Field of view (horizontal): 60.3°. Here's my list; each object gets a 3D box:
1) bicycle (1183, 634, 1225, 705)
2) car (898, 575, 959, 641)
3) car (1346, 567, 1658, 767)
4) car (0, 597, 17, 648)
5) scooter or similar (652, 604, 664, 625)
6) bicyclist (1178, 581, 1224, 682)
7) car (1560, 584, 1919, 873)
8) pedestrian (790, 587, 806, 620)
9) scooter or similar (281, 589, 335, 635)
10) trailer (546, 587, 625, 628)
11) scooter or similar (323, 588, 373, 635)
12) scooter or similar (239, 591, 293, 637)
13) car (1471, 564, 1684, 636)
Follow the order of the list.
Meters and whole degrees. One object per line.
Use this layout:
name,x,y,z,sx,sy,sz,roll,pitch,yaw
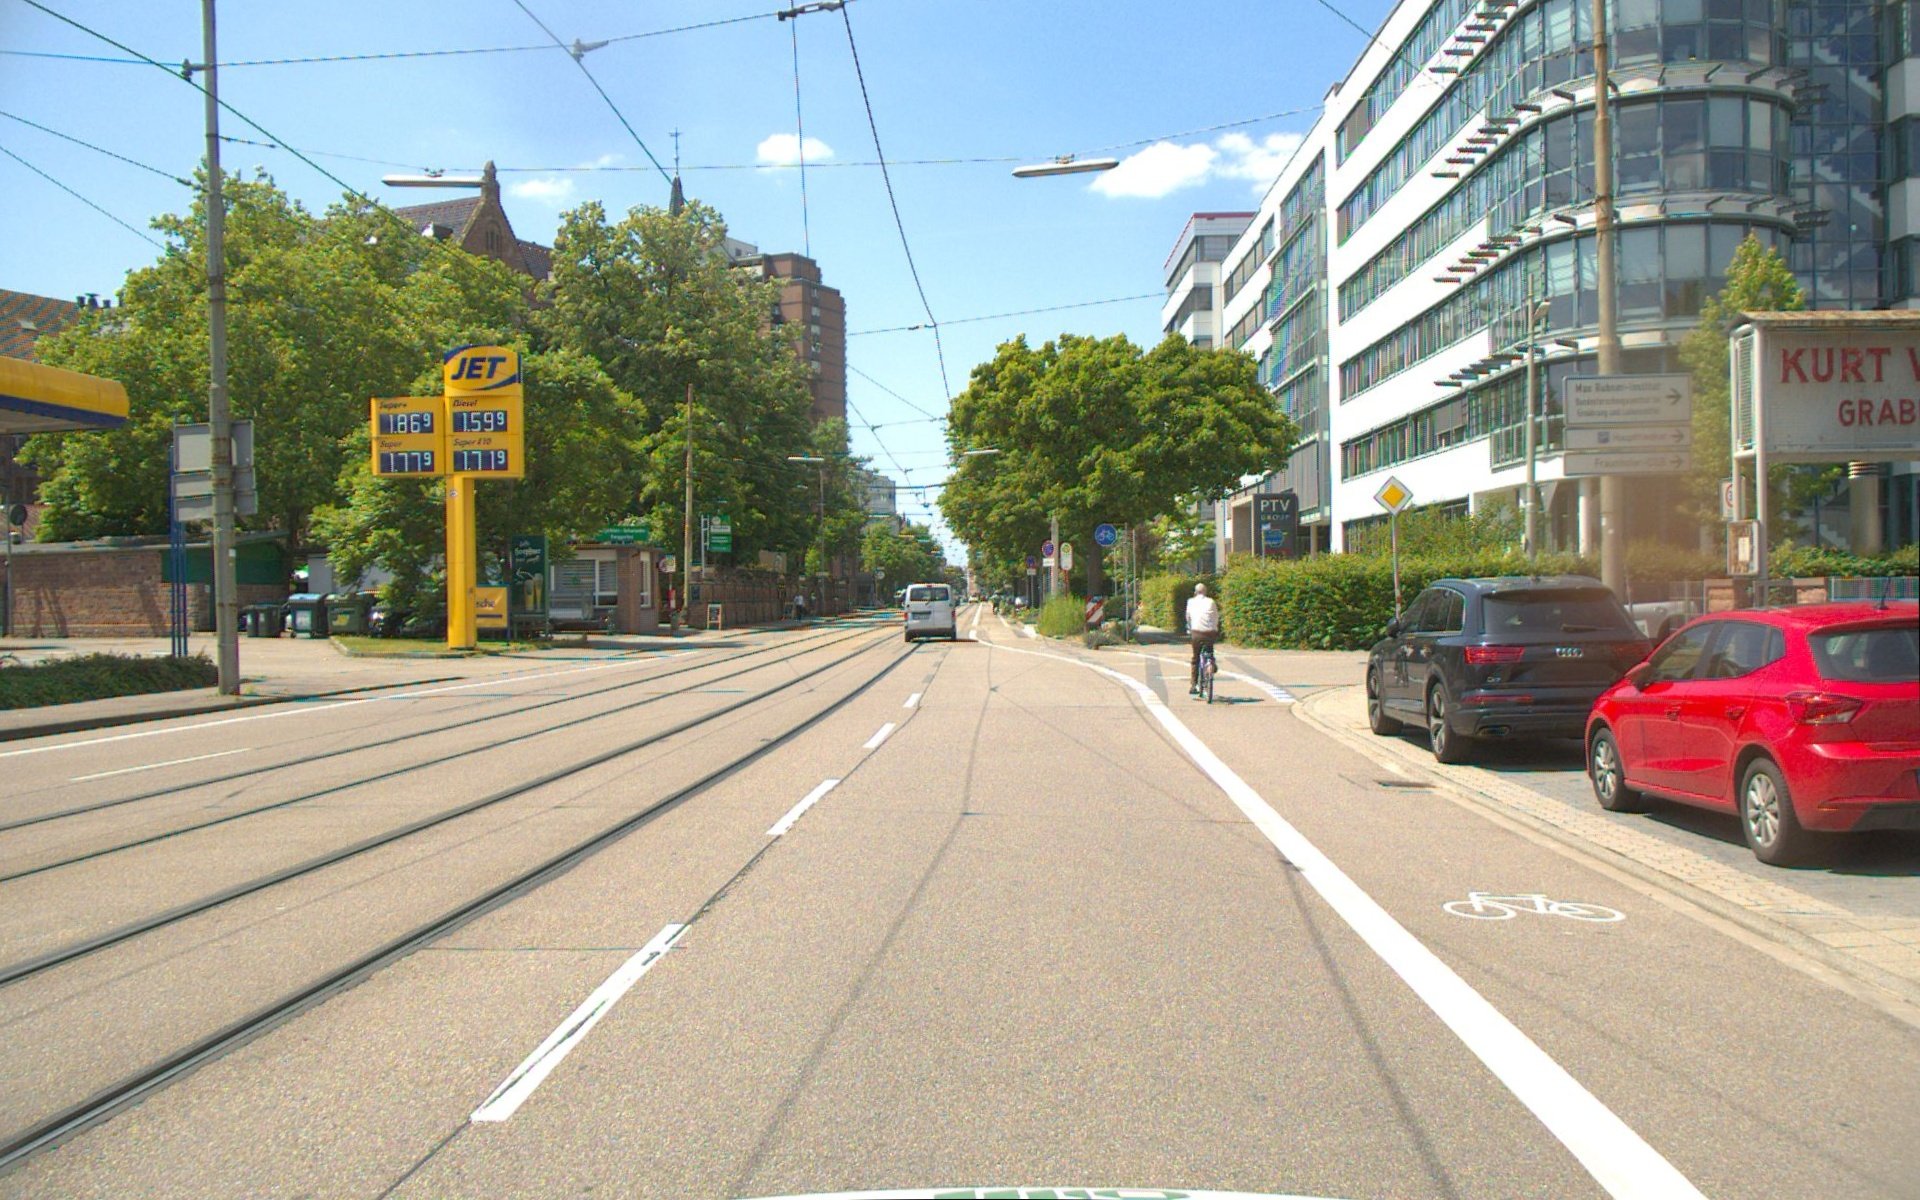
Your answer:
bicycle,3.472,0.968,23.626,0.456,0.903,2.049,0,0,5
car,-0.997,0.228,54.669,1.716,2.048,4.002,-2,1,2
car,5.367,0.575,17.120,1.824,1.716,5.003,-2,0,3
car,-27.781,0.650,43.591,1.798,1.389,5.007,-1,0,24
scooter or similar,-12.814,0.599,70.141,0.423,0.878,0.500,0,-1,-2
bicyclist,3.436,0.436,23.619,0.579,1.421,0.842,0,0,4
car,5.532,0.674,10.913,1.677,1.478,4.073,-3,0,1
pedestrian,-10.144,0.211,103.690,0.846,2.049,0.646,-2,-1,-2
scooter or similar,-21.331,0.388,54.121,1.285,1.492,1.060,-1,-1,12
trailer,-14.402,0.296,63.658,2.671,1.553,1.330,0,-1,2
scooter or similar,-19.790,0.364,53.513,1.147,1.492,1.060,-1,-1,6
scooter or similar,-23.167,0.463,55.236,1.285,1.492,1.060,-1,0,12
car,12.522,-0.001,33.679,3.720,1.297,1.556,-2,0,1
